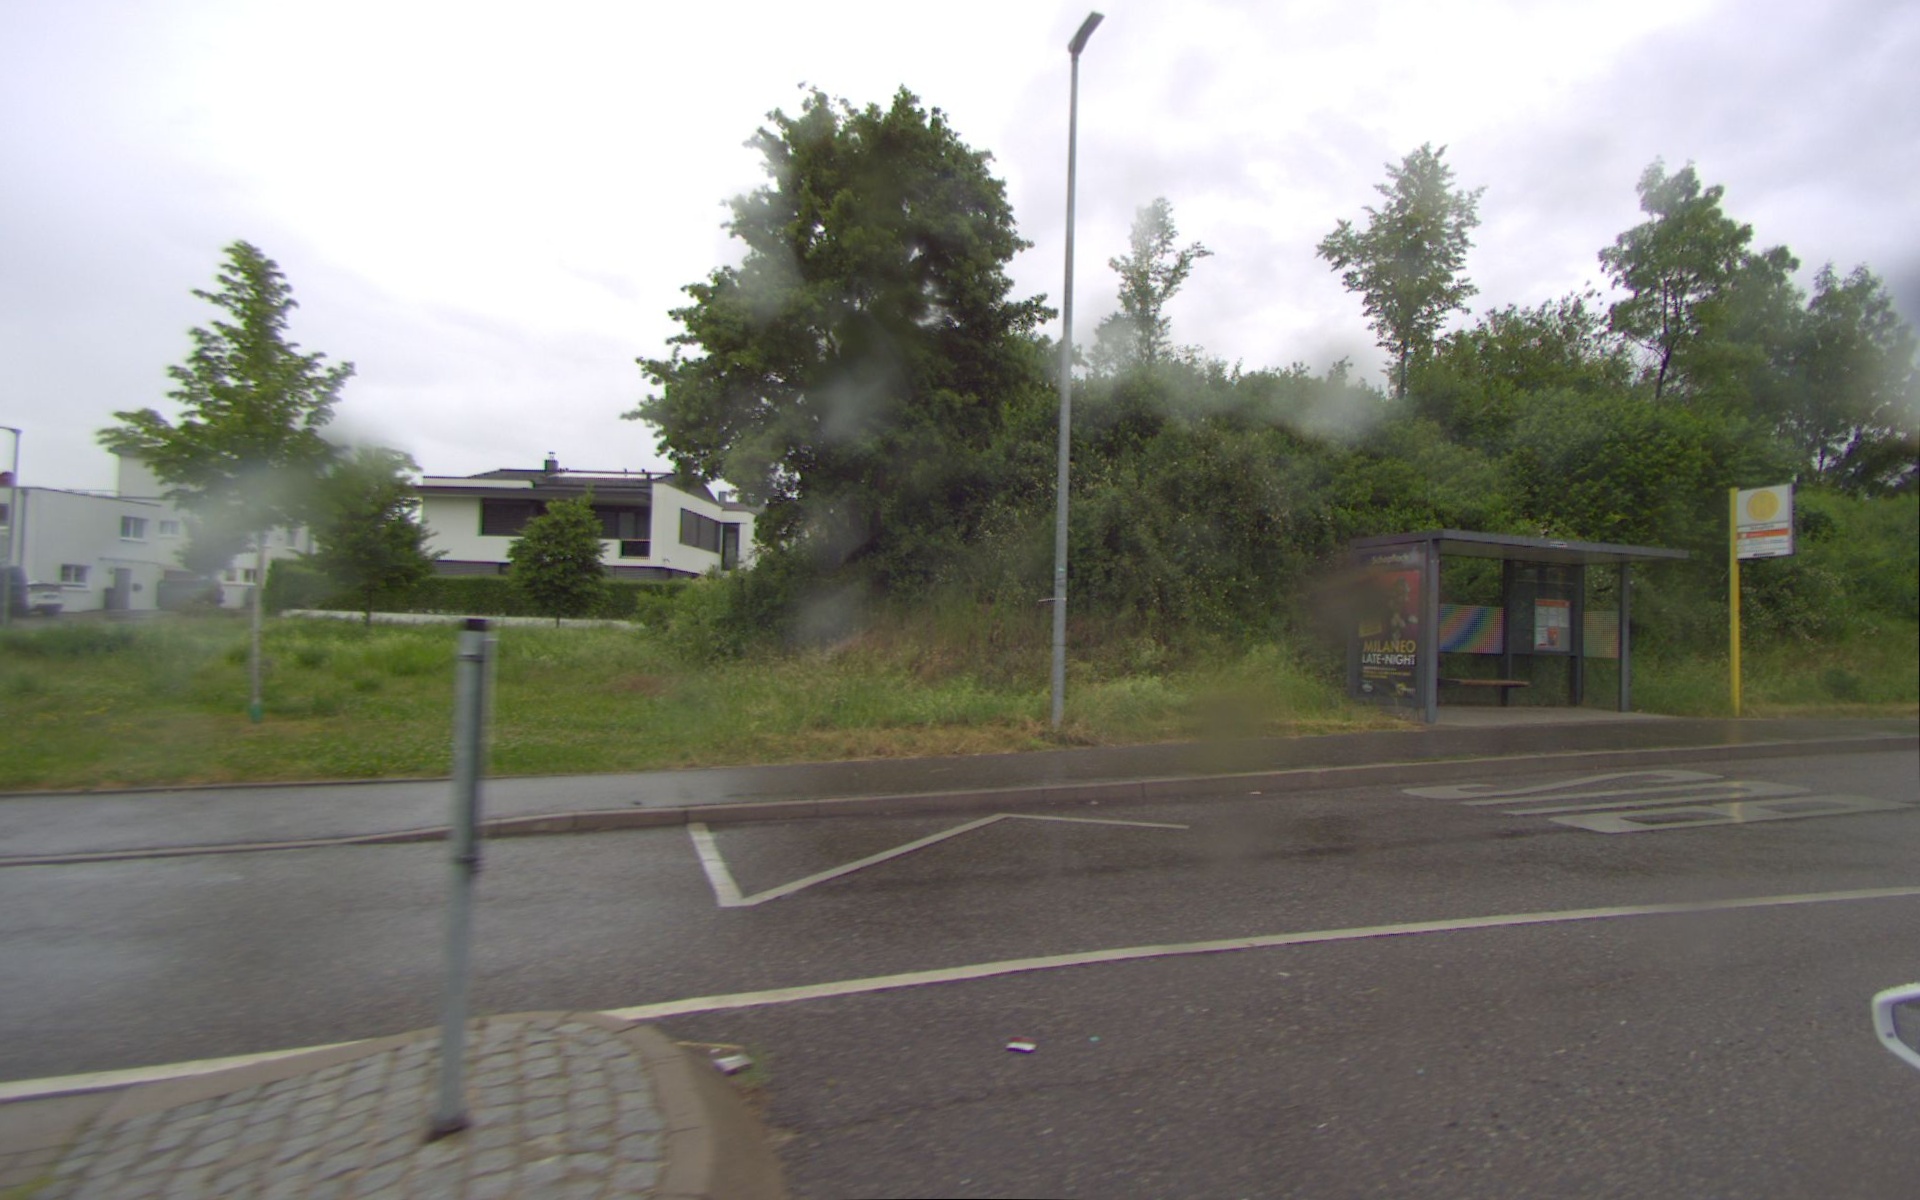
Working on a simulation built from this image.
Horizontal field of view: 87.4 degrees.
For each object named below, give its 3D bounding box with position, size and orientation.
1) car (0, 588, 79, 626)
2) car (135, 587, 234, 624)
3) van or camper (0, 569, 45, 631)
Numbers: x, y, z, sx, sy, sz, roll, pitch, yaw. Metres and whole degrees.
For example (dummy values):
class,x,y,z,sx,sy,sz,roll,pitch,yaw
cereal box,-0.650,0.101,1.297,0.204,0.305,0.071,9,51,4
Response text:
class,x,y,z,sx,sy,sz,roll,pitch,yaw
car,-45.606,0.331,48.391,4.578,1.770,2.022,1,-1,2
car,-44.640,0.338,57.876,4.132,1.865,1.790,3,-2,-4
van or camper,-40.716,-0.079,39.980,2.480,2.526,6.212,2,-1,6
